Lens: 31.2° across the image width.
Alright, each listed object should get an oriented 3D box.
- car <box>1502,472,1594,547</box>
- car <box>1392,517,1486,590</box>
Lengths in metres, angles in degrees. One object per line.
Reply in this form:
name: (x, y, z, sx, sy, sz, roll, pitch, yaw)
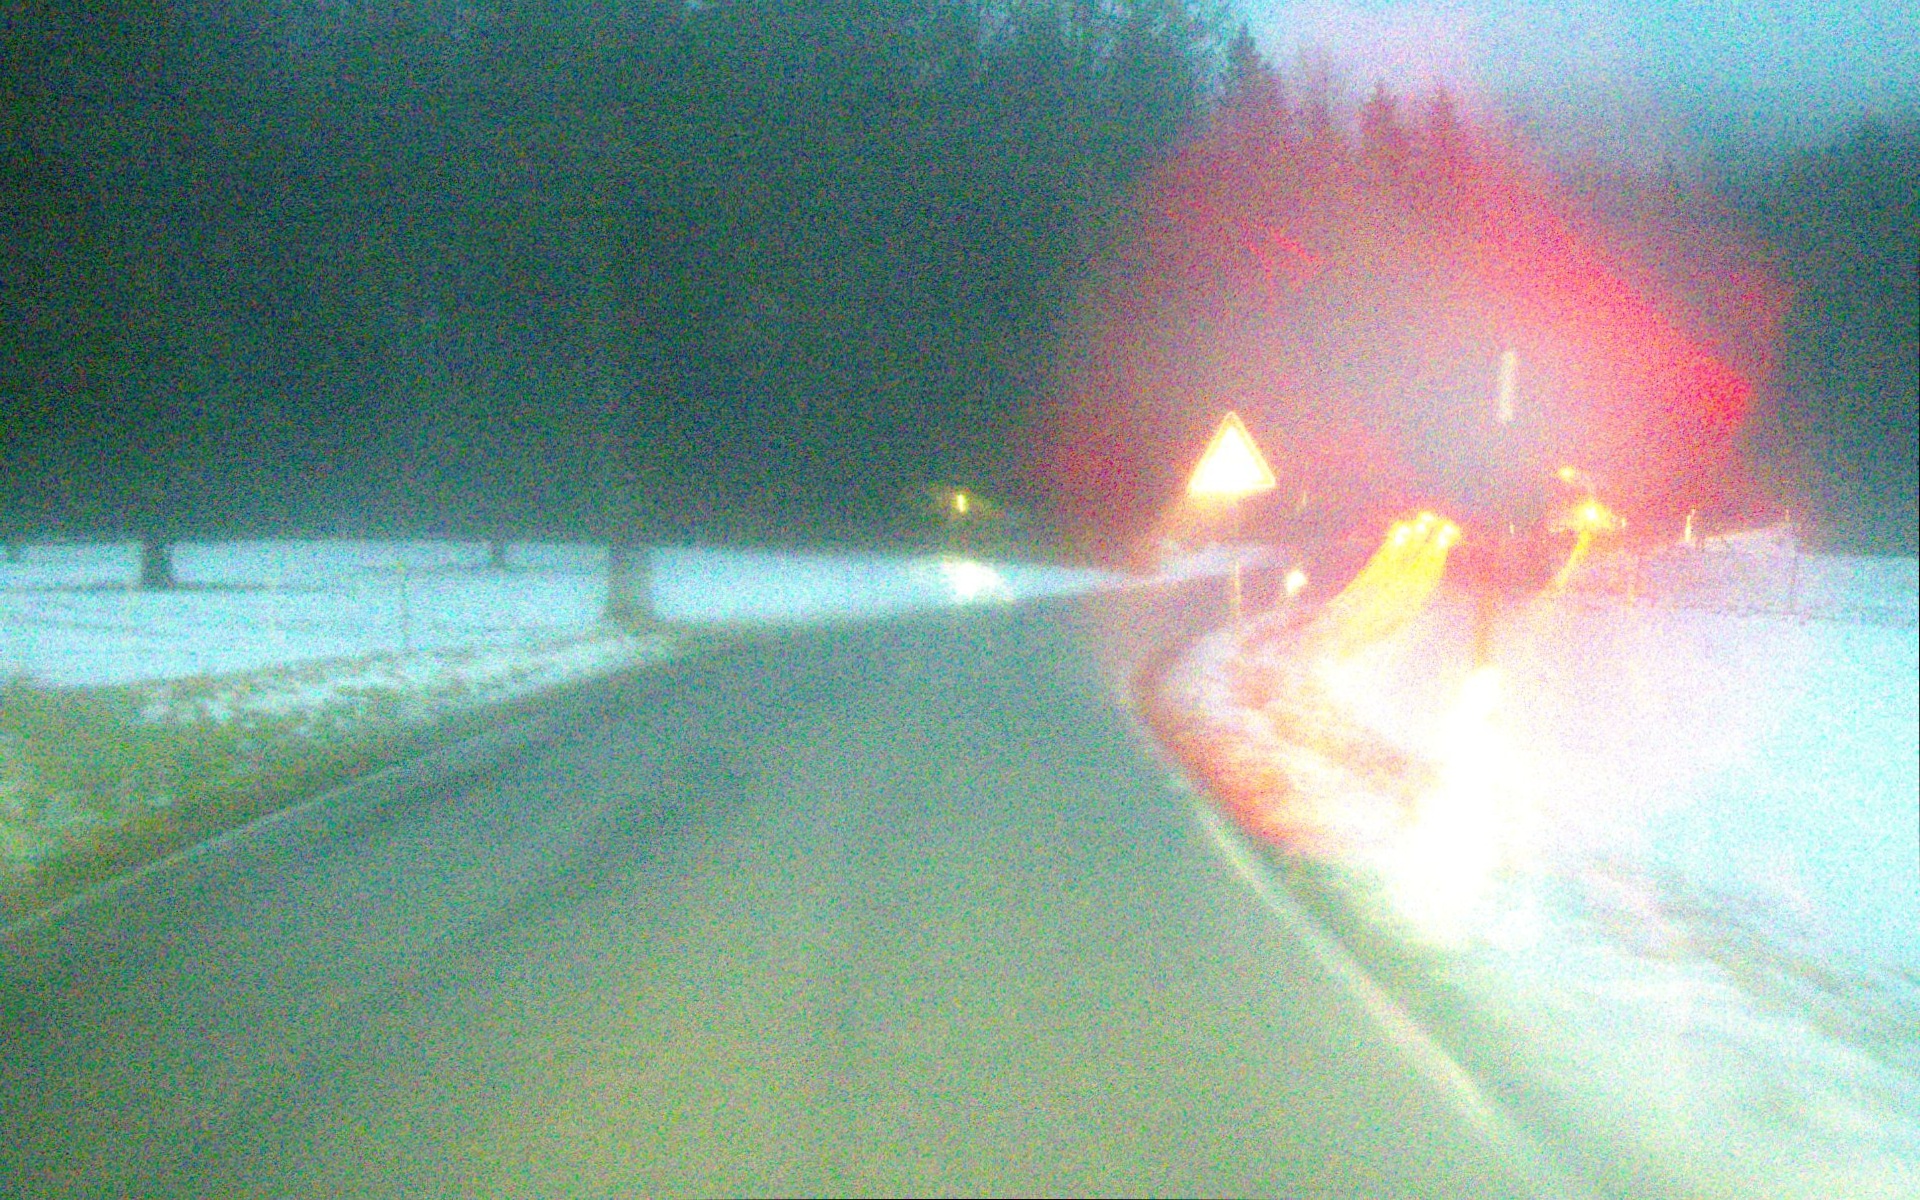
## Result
car: (21.387, -3.297, 124.797, 2.255, 2.636, 5.001, 0, 2, 22)
car: (14.231, -1.392, 101.897, 1.995, 2.044, 3.997, 3, 2, 18)
